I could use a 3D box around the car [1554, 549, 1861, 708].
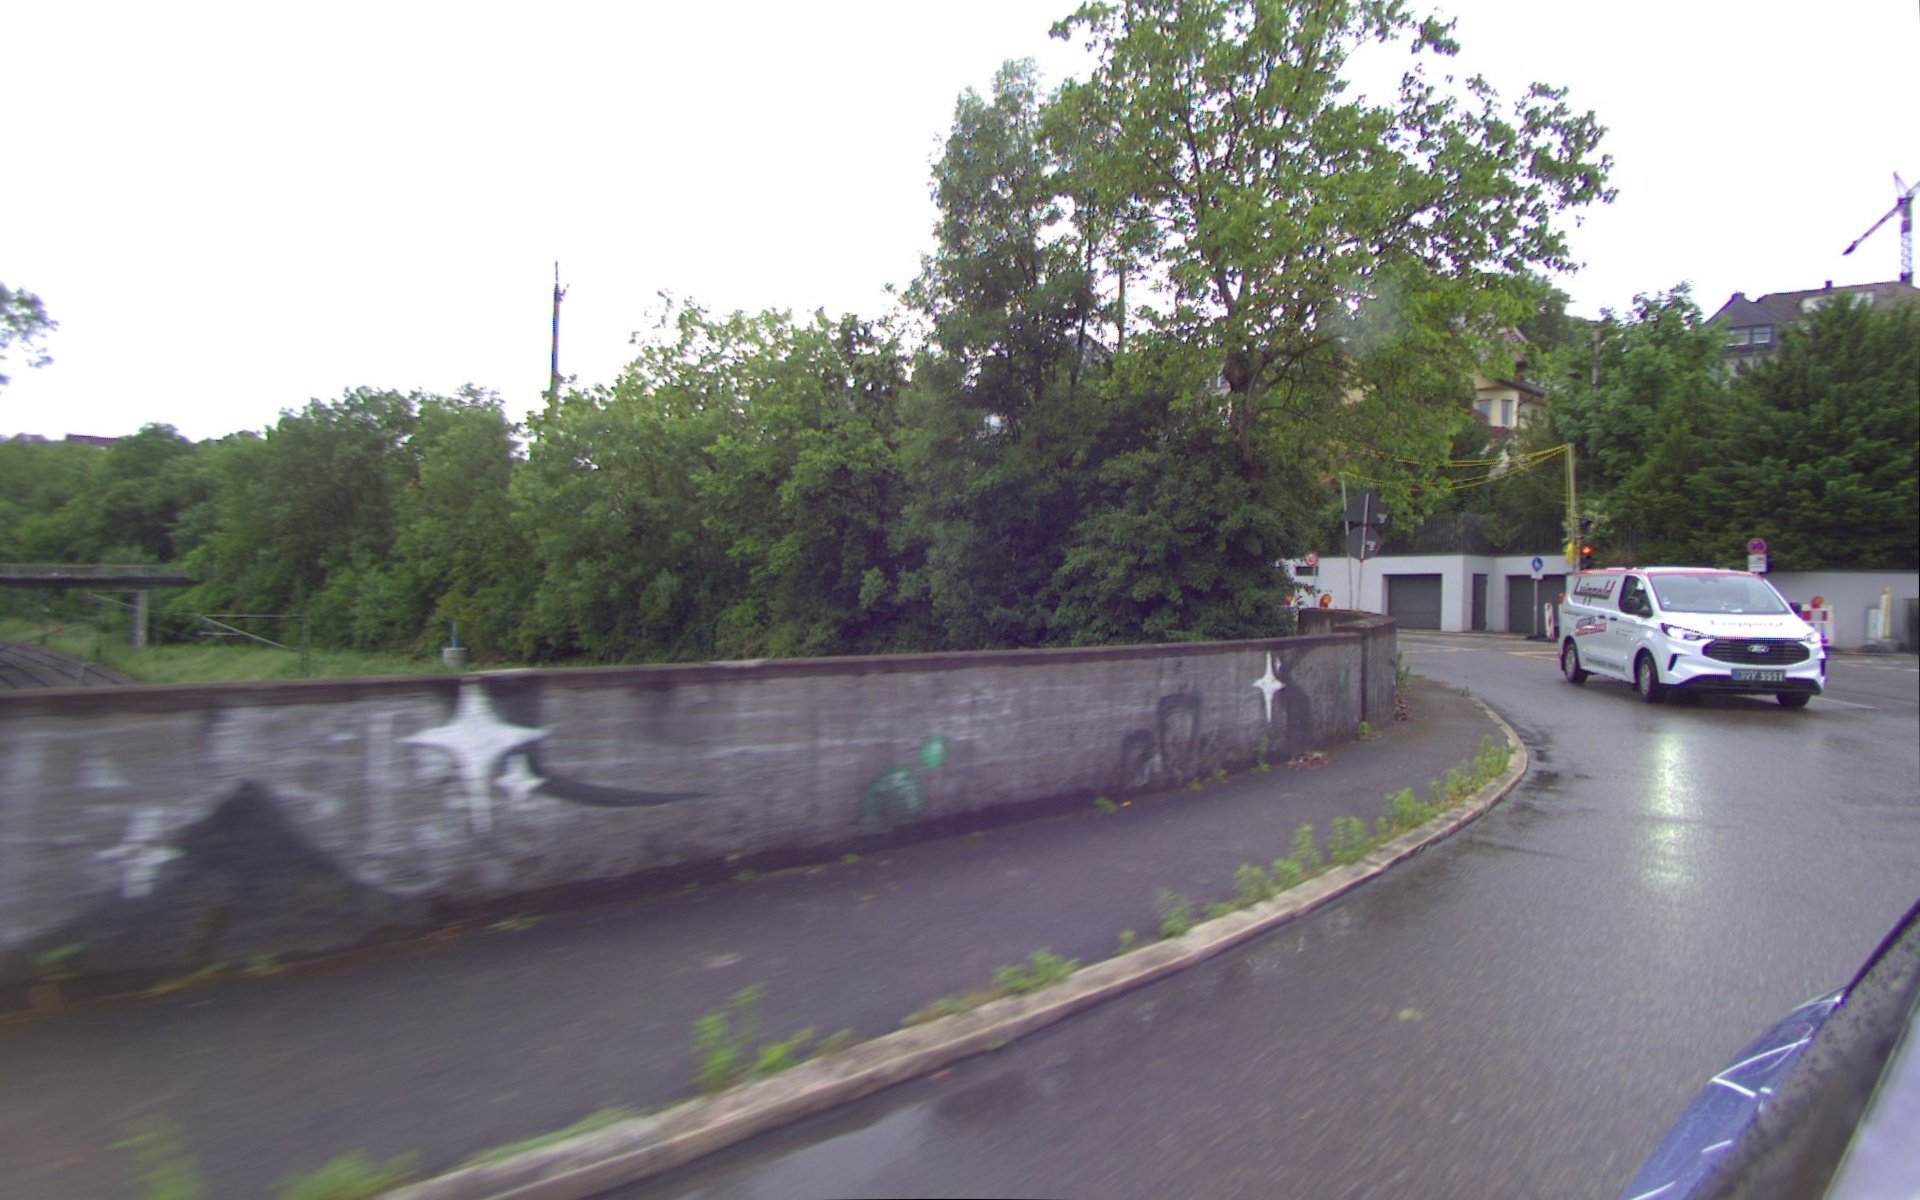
[{"bbox_3d":[11.106,0.291,15.582,1.970,2.038,4.931,-1,2,13],"label":"car"}]
